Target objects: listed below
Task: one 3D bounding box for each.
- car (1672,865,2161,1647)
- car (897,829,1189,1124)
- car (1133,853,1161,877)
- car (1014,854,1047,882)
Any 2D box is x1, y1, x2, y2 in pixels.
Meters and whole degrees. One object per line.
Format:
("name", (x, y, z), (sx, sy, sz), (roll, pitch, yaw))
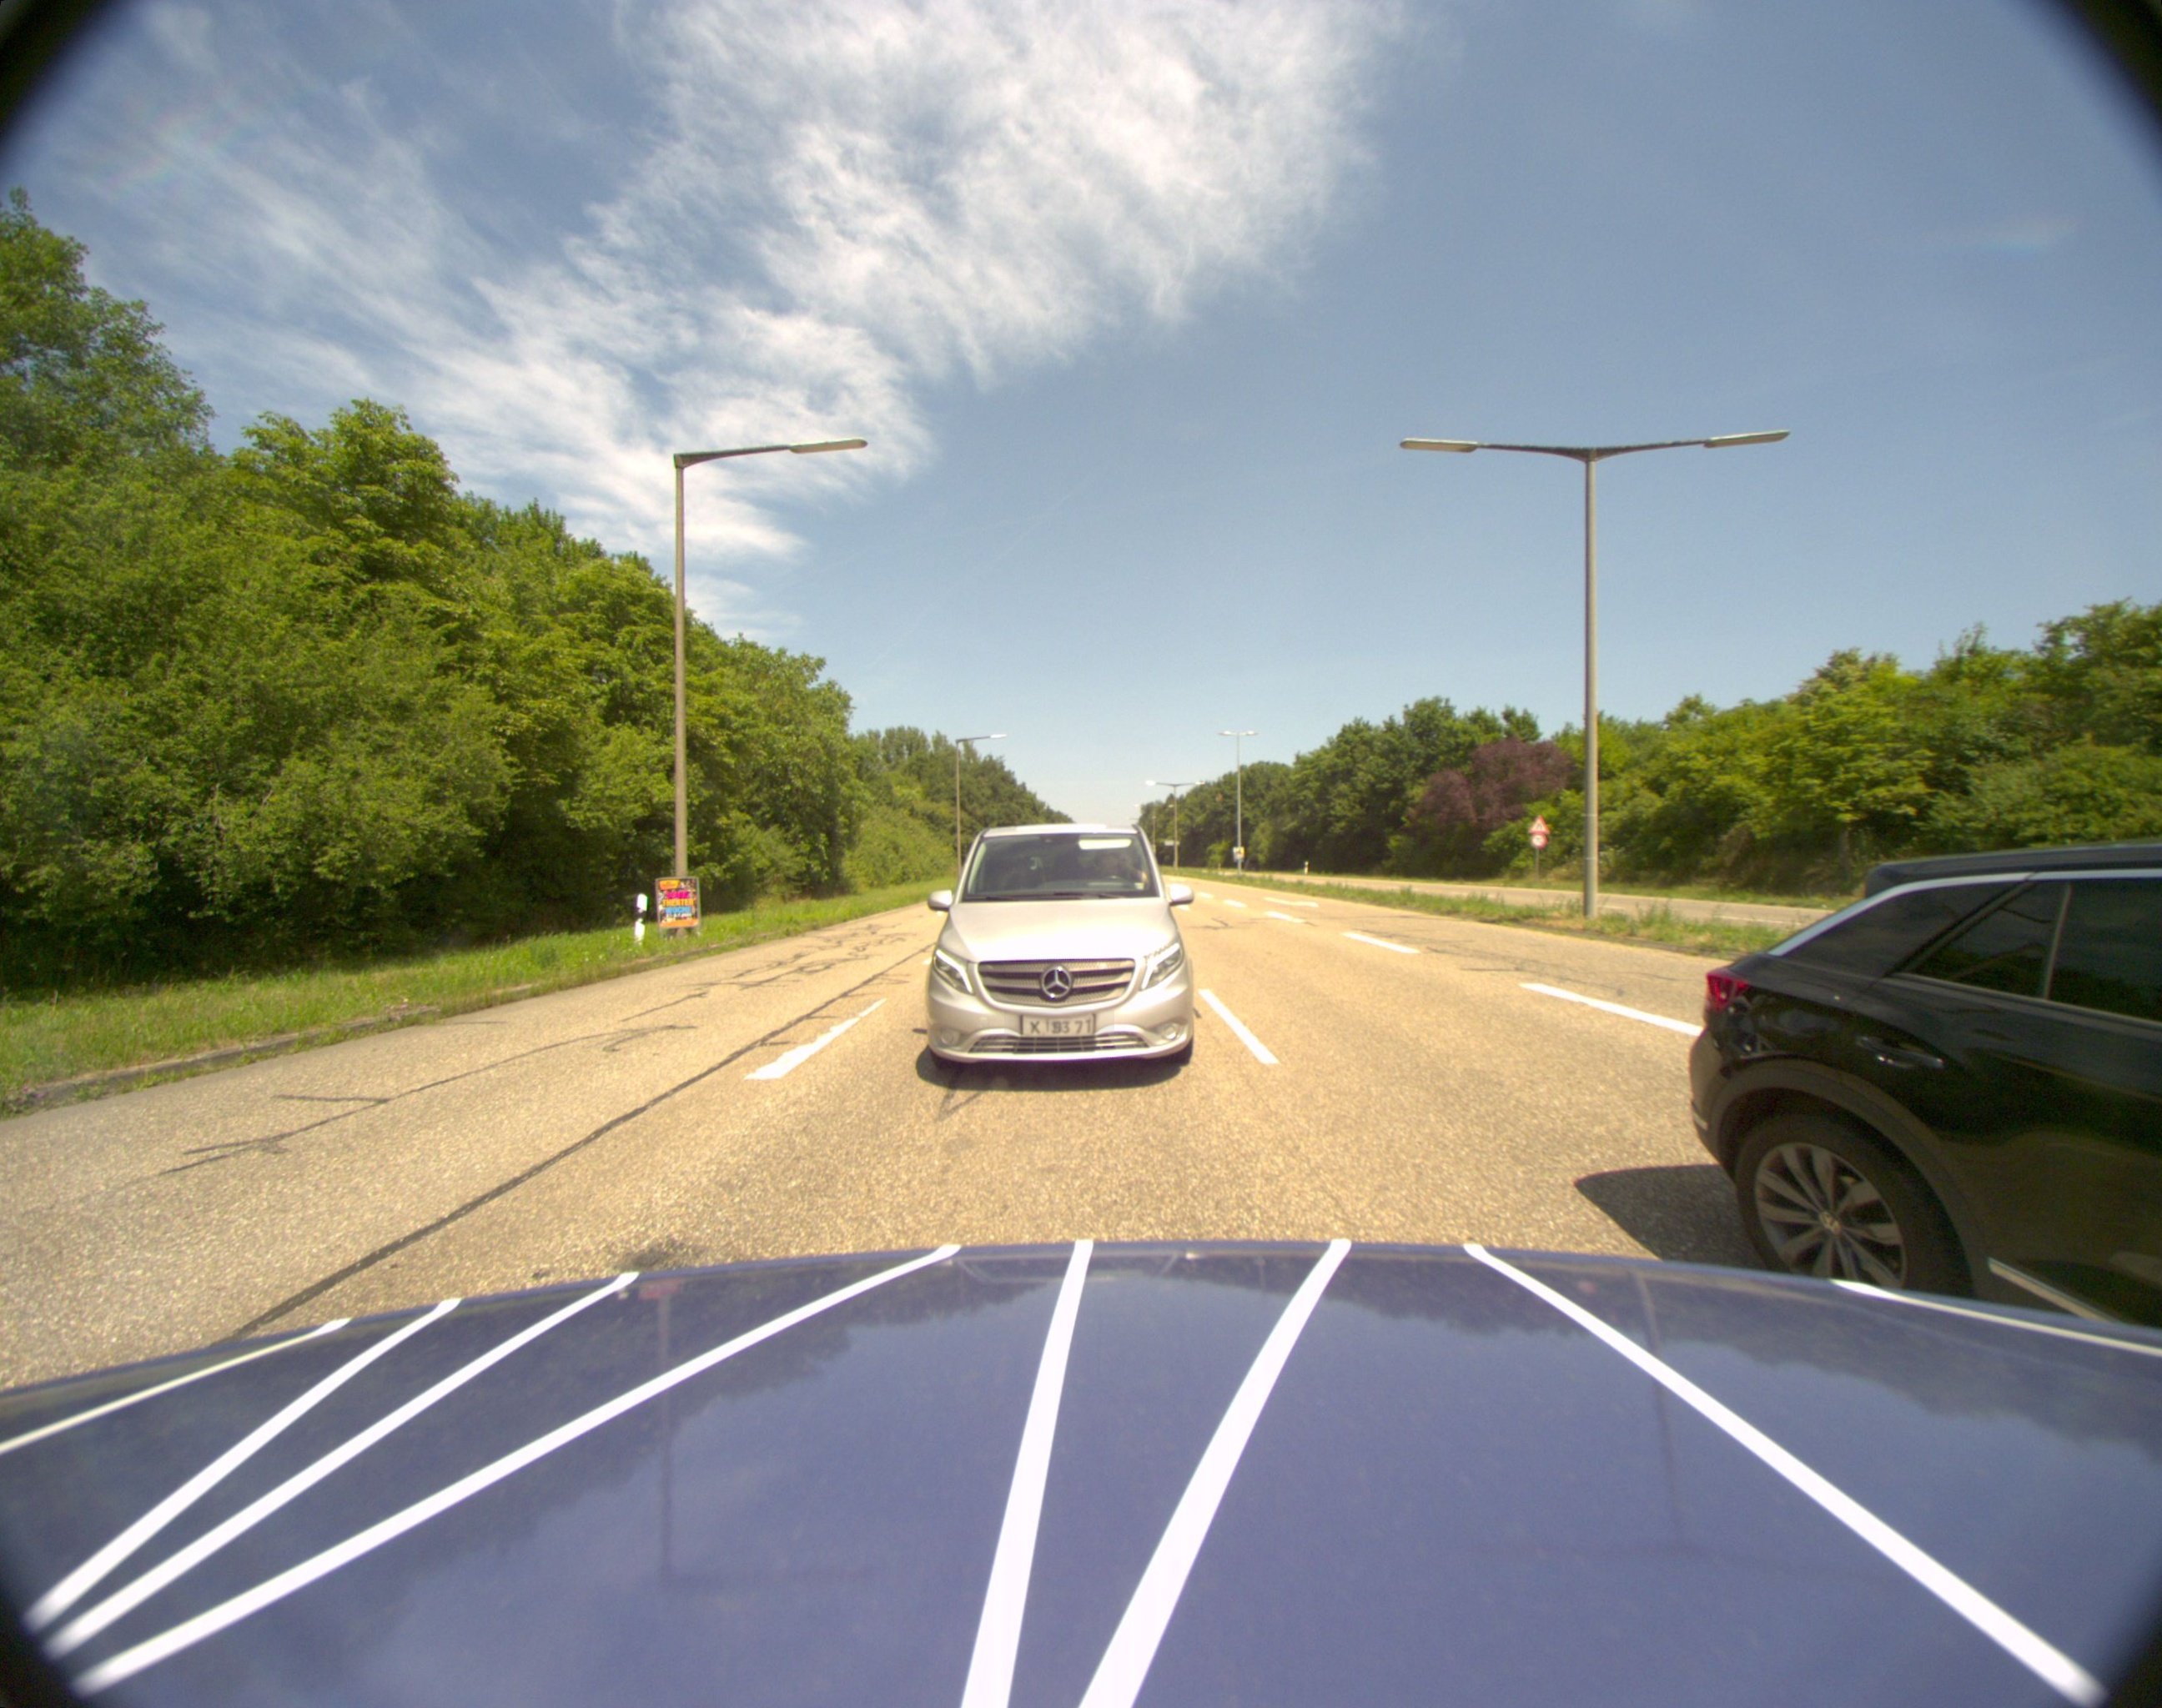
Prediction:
("car", (3.043, 0.847, 0.819), (1.739, 1.503, 3.970), (-2, 1, 1))
("car", (-0.206, 0.768, 7.184), (1.764, 1.794, 4.855), (-2, 0, 1))
("car", (5.137, 0.836, 60.022), (1.736, 1.815, 4.321), (-1, 0, -1))
("car", (-3.489, 0.938, 52.942), (1.865, 1.807, 4.908), (-2, 0, 1))
